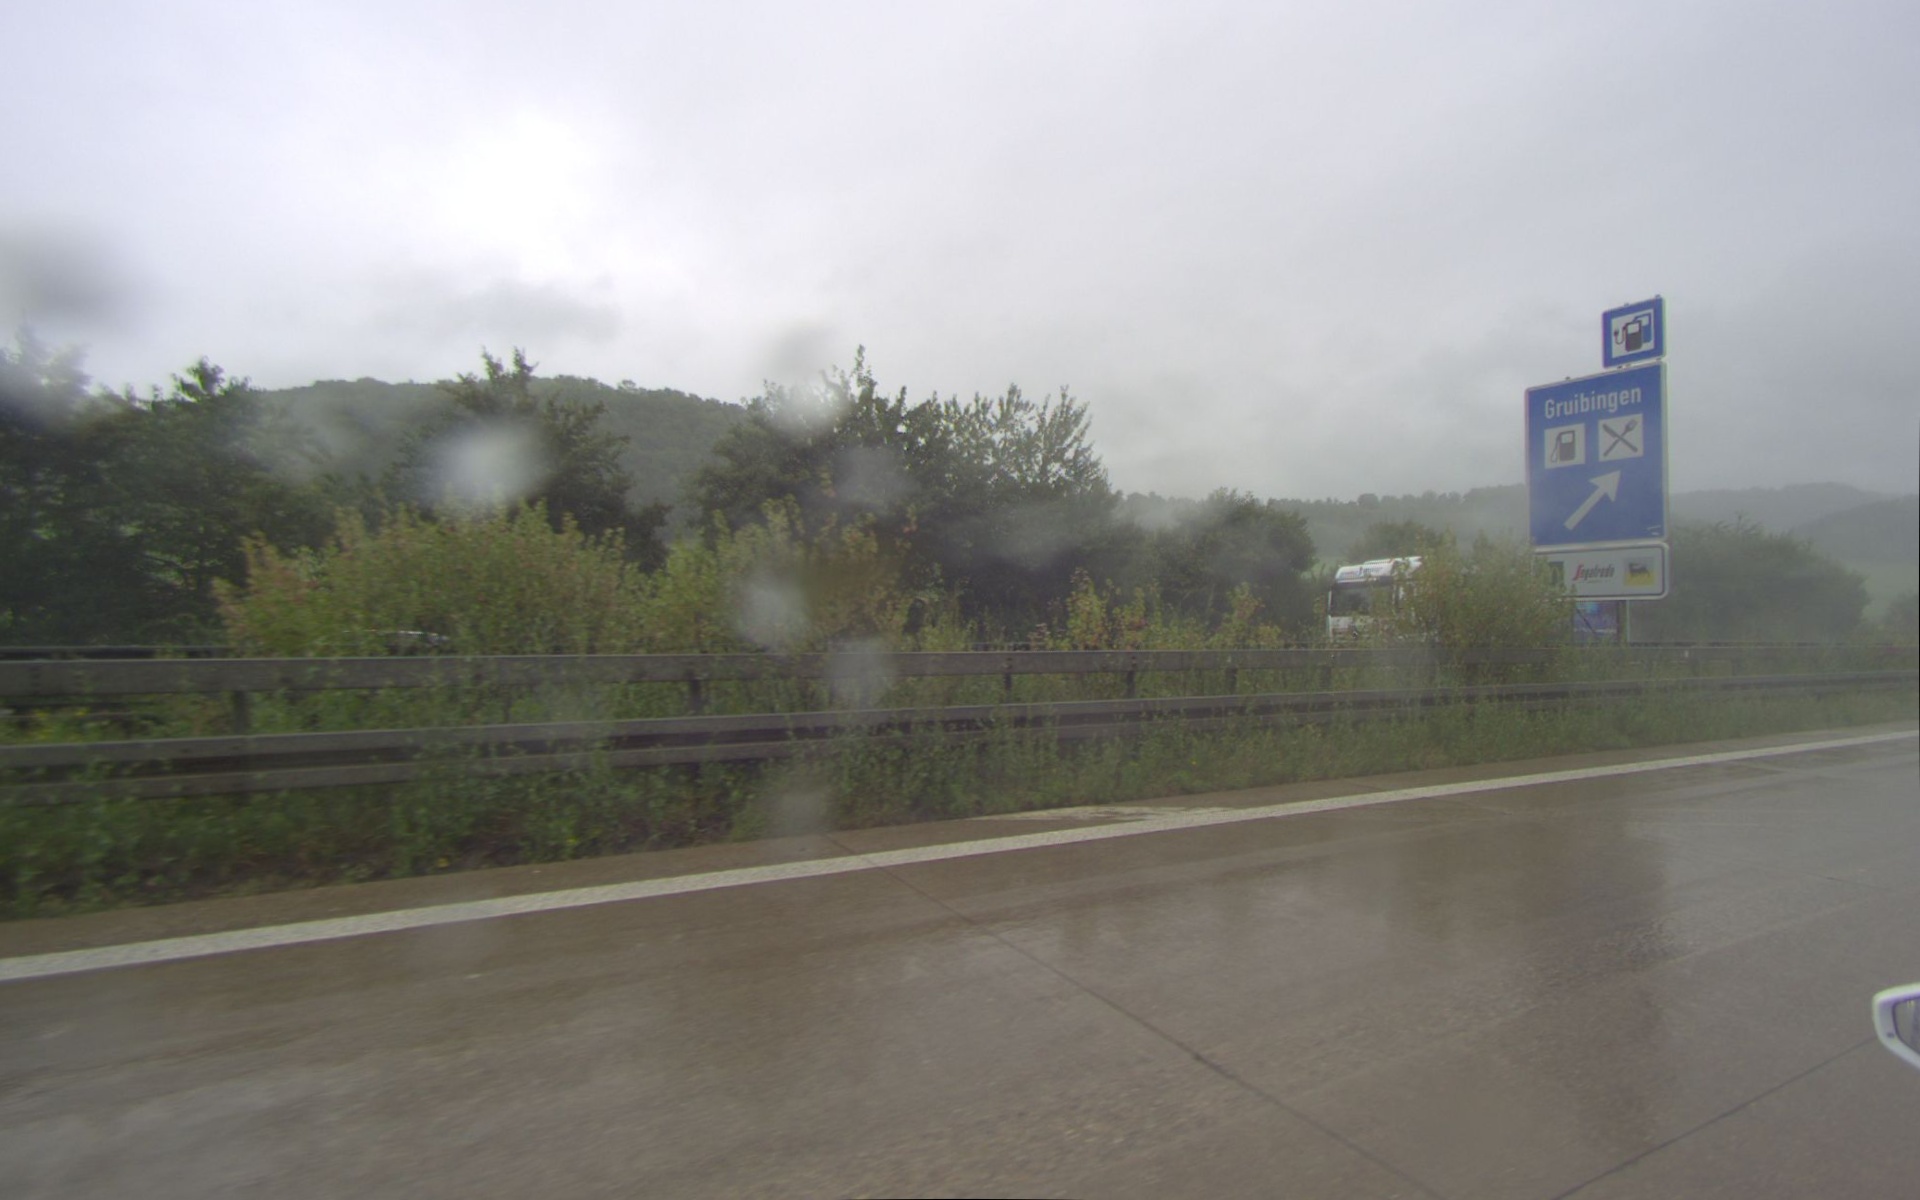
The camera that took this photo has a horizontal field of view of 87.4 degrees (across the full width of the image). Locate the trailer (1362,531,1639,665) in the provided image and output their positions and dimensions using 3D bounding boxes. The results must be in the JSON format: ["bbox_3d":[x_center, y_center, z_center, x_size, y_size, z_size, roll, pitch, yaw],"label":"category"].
[{"bbox_3d":[19.562,0.034,35.992,11.268,4.229,3.339,1,0,-30],"label":"trailer"}]

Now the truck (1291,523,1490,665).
[{"bbox_3d":[14.025,-0.138,32.728,5.455,4.240,3.357,1,0,-30],"label":"truck"}]
